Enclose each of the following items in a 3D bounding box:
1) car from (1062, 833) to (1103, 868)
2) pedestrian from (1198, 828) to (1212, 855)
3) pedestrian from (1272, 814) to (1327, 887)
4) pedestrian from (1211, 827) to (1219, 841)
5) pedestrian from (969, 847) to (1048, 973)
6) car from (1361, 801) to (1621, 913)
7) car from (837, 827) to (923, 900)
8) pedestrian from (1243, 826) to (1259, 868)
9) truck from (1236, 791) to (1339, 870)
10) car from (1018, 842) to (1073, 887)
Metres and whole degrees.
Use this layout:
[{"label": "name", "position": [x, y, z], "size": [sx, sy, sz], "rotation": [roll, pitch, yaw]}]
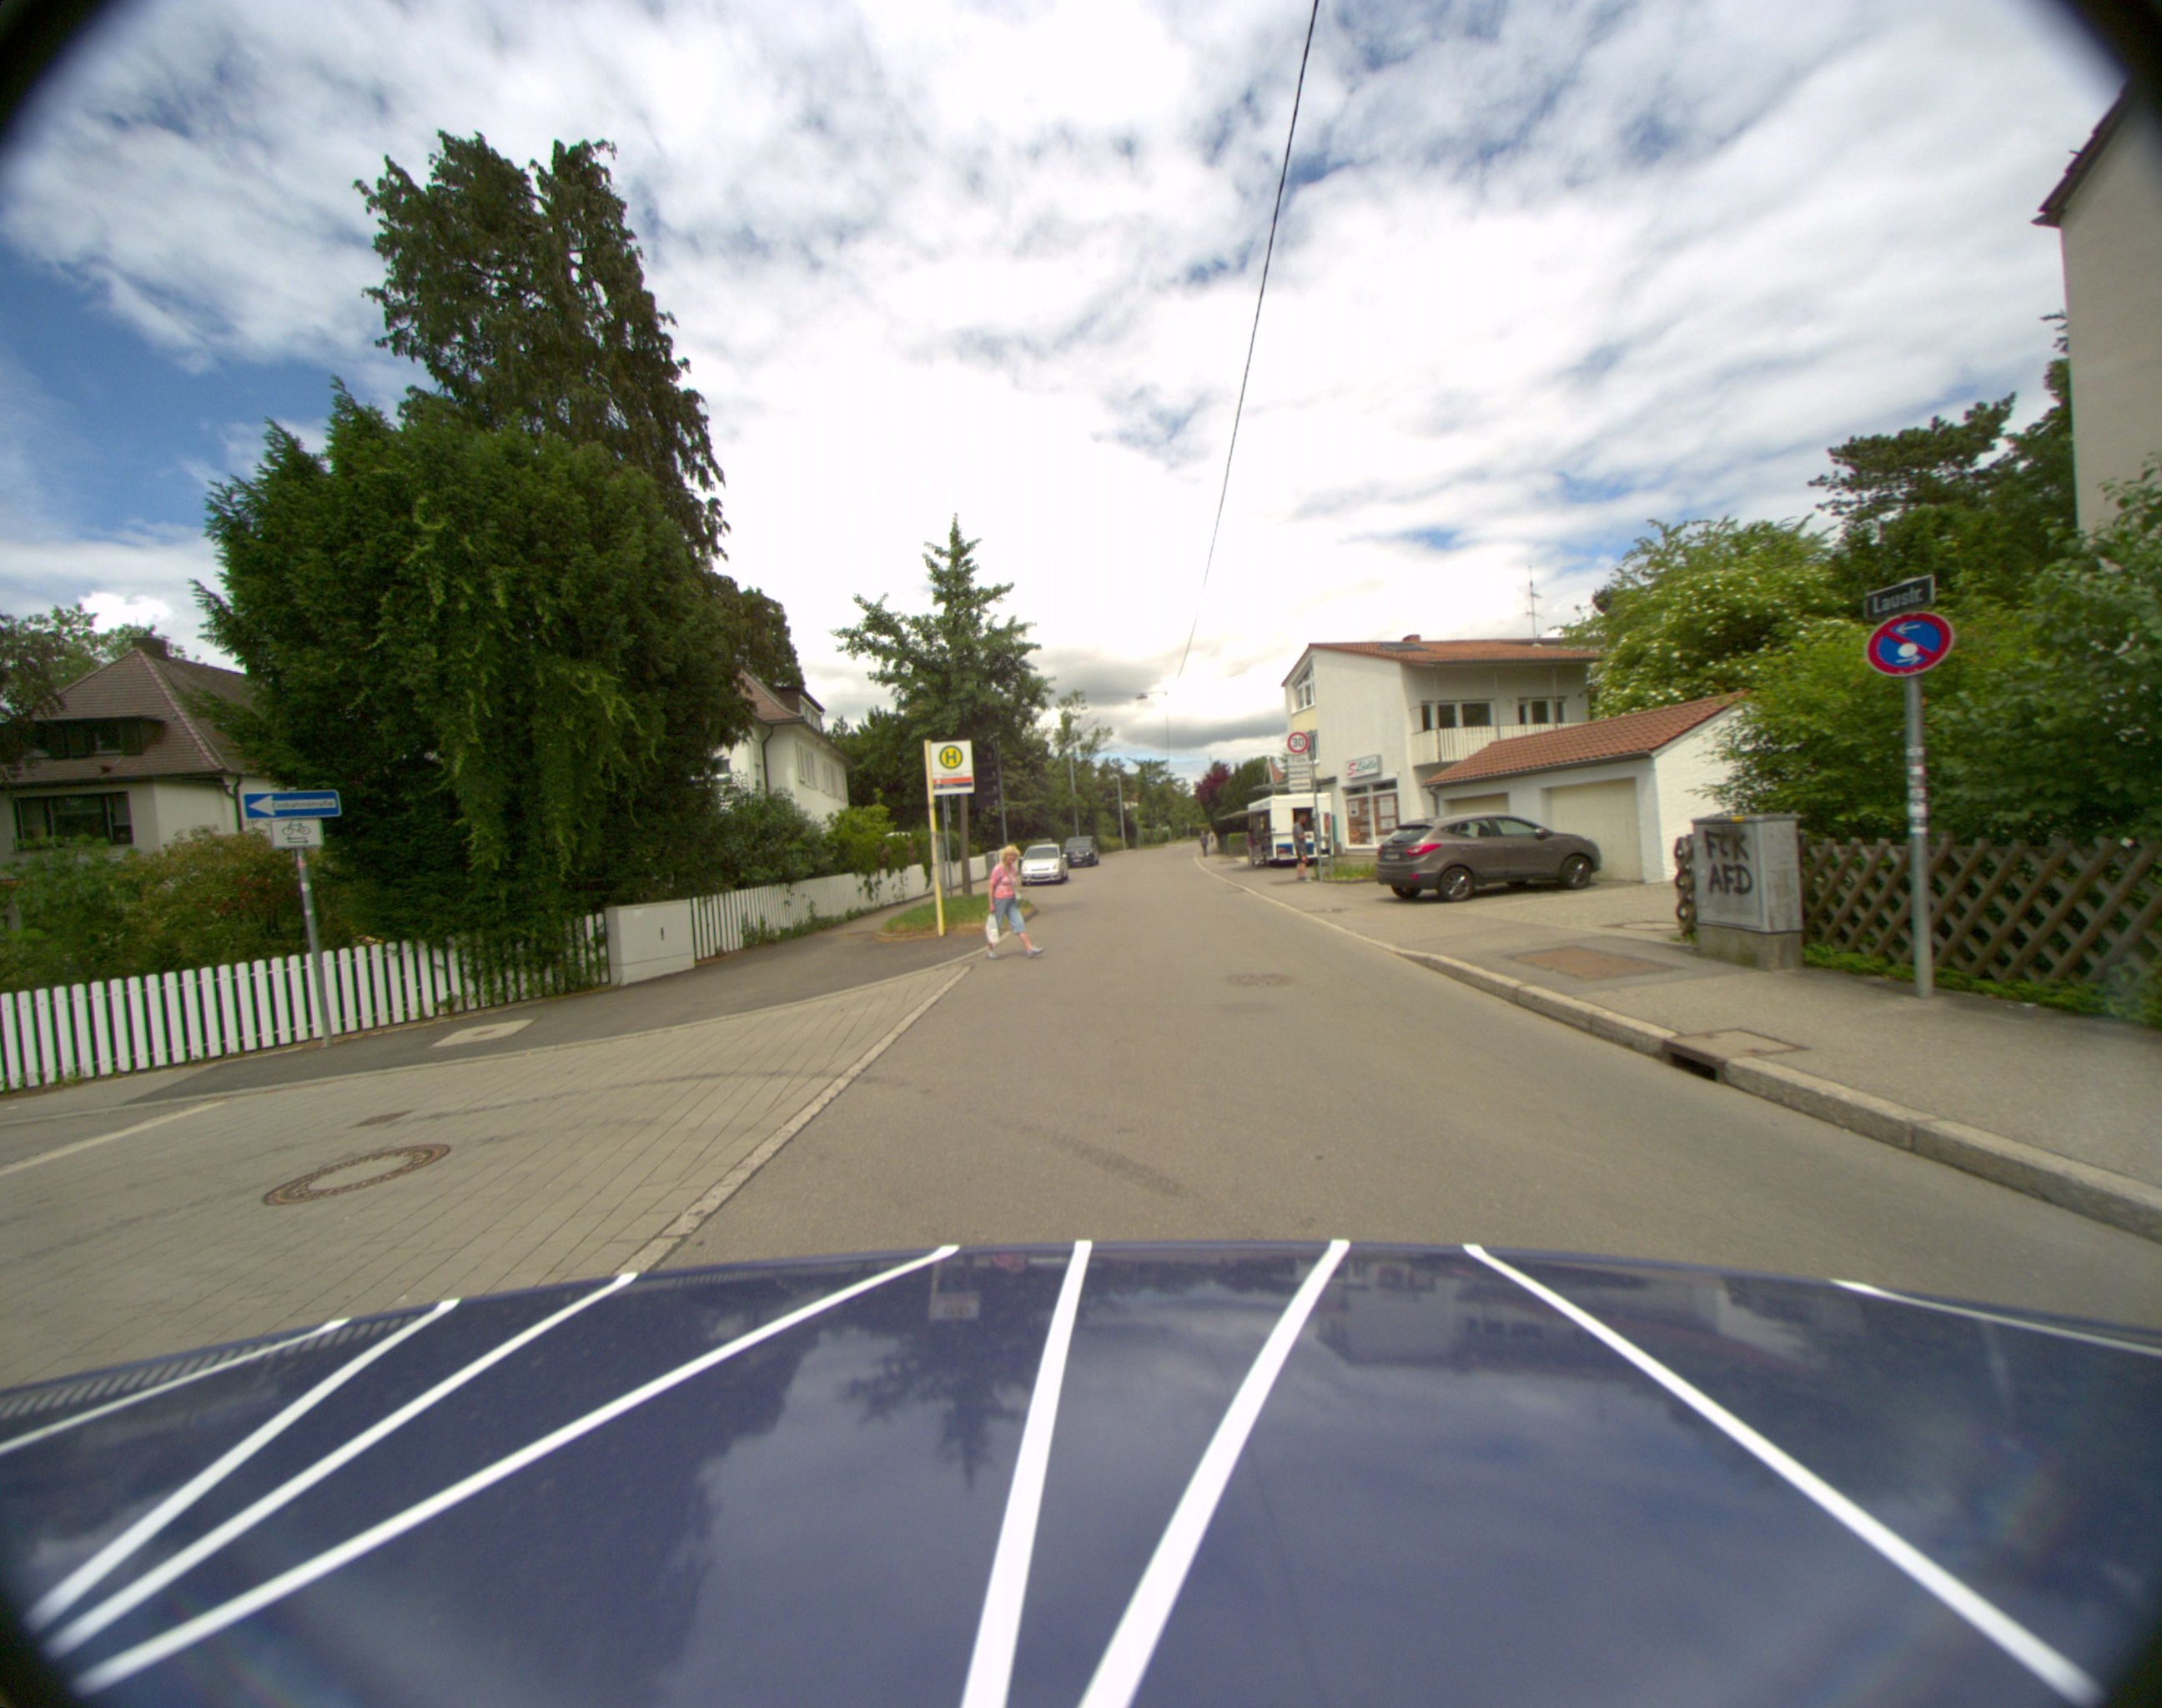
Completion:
[{"label": "car", "position": [0.168, -0.280, 47.345], "size": [1.913, 1.838, 5.158], "rotation": [-4, 2, 7]}, {"label": "pedestrian", "position": [8.465, -0.881, 51.695], "size": [0.724, 1.678, 1.108], "rotation": [-6, 6, 7]}, {"label": "pedestrian", "position": [6.155, -0.106, 21.477], "size": [1.216, 1.935, 0.735], "rotation": [-6, 2, 7]}, {"label": "pedestrian", "position": [17.737, -2.605, 100.777], "size": [0.821, 1.735, 0.604], "rotation": [-6, 2, 13]}, {"label": "pedestrian", "position": [-0.997, 0.753, 10.689], "size": [0.856, 1.636, 0.884], "rotation": [-4, 2, 4]}, {"label": "car", "position": [8.242, 0.034, 15.457], "size": [4.325, 1.686, 1.796], "rotation": [-6, 2, -8]}, {"label": "car", "position": [-8.634, 0.341, 33.175], "size": [2.504, 2.667, 5.183], "rotation": [-6, 2, -5]}, {"label": "pedestrian", "position": [7.079, -0.305, 31.662], "size": [0.402, 1.685, 0.597], "rotation": [-6, 2, 1]}, {"label": "truck", "position": [8.513, -0.987, 32.144], "size": [2.479, 2.824, 6.706], "rotation": [-4, 2, 1]}, {"label": "car", "position": [-1.389, 0.354, 30.965], "size": [1.763, 1.573, 4.018], "rotation": [-3, 2, 3]}]
